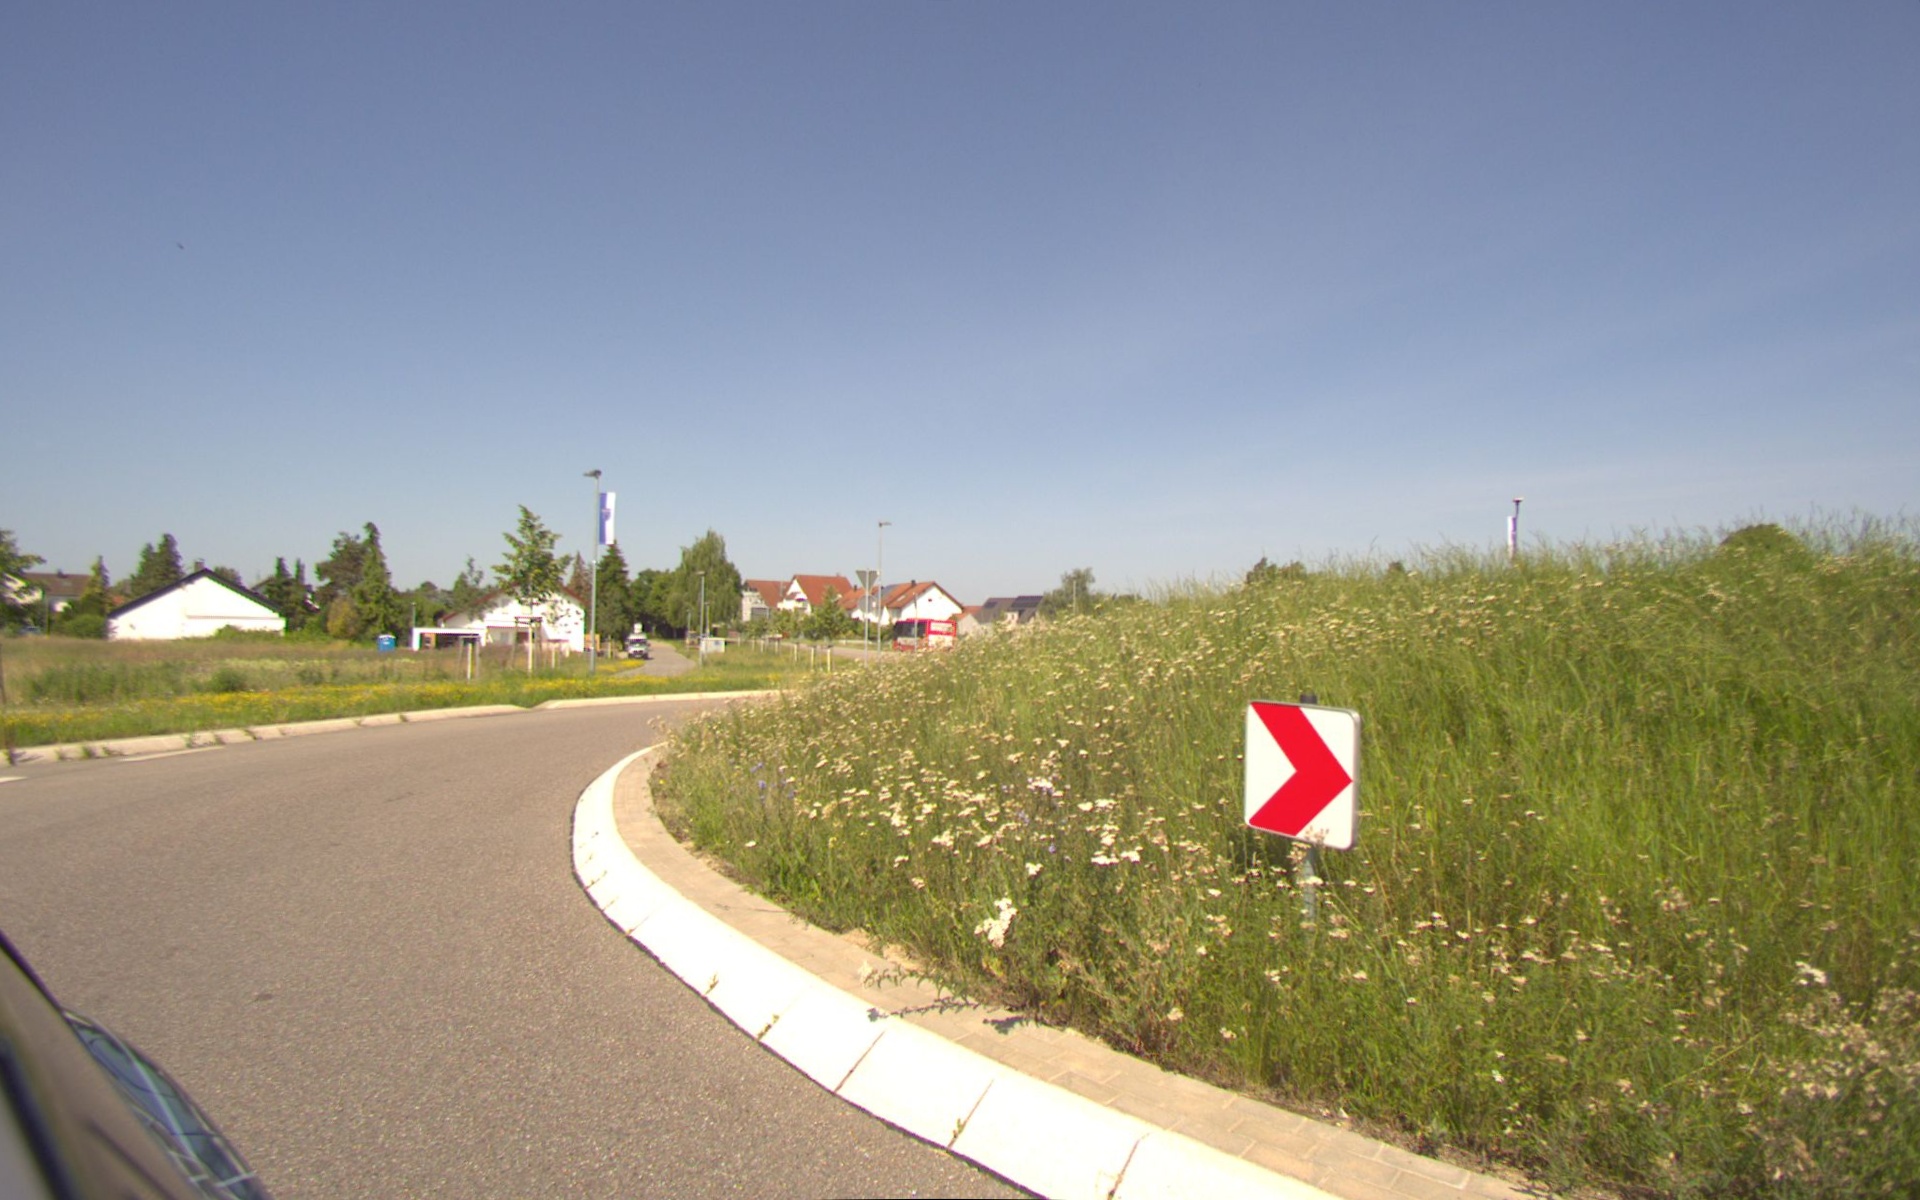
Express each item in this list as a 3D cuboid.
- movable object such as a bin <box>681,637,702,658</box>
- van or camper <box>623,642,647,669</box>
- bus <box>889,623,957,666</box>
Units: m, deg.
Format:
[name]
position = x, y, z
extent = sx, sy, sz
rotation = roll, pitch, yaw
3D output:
[movable object such as a bin]
position = -33.435, 5.985, 125.943
extent = 2.284, 2.482, 6.965
rotation = 0, -3, -16
[van or camper]
position = -32.630, 5.489, 101.454
extent = 2.141, 2.620, 6.049
rotation = 1, -2, -19
[bus]
position = -3.332, 3.826, 86.956
extent = 2.756, 3.312, 12.264
rotation = 4, -3, -16
